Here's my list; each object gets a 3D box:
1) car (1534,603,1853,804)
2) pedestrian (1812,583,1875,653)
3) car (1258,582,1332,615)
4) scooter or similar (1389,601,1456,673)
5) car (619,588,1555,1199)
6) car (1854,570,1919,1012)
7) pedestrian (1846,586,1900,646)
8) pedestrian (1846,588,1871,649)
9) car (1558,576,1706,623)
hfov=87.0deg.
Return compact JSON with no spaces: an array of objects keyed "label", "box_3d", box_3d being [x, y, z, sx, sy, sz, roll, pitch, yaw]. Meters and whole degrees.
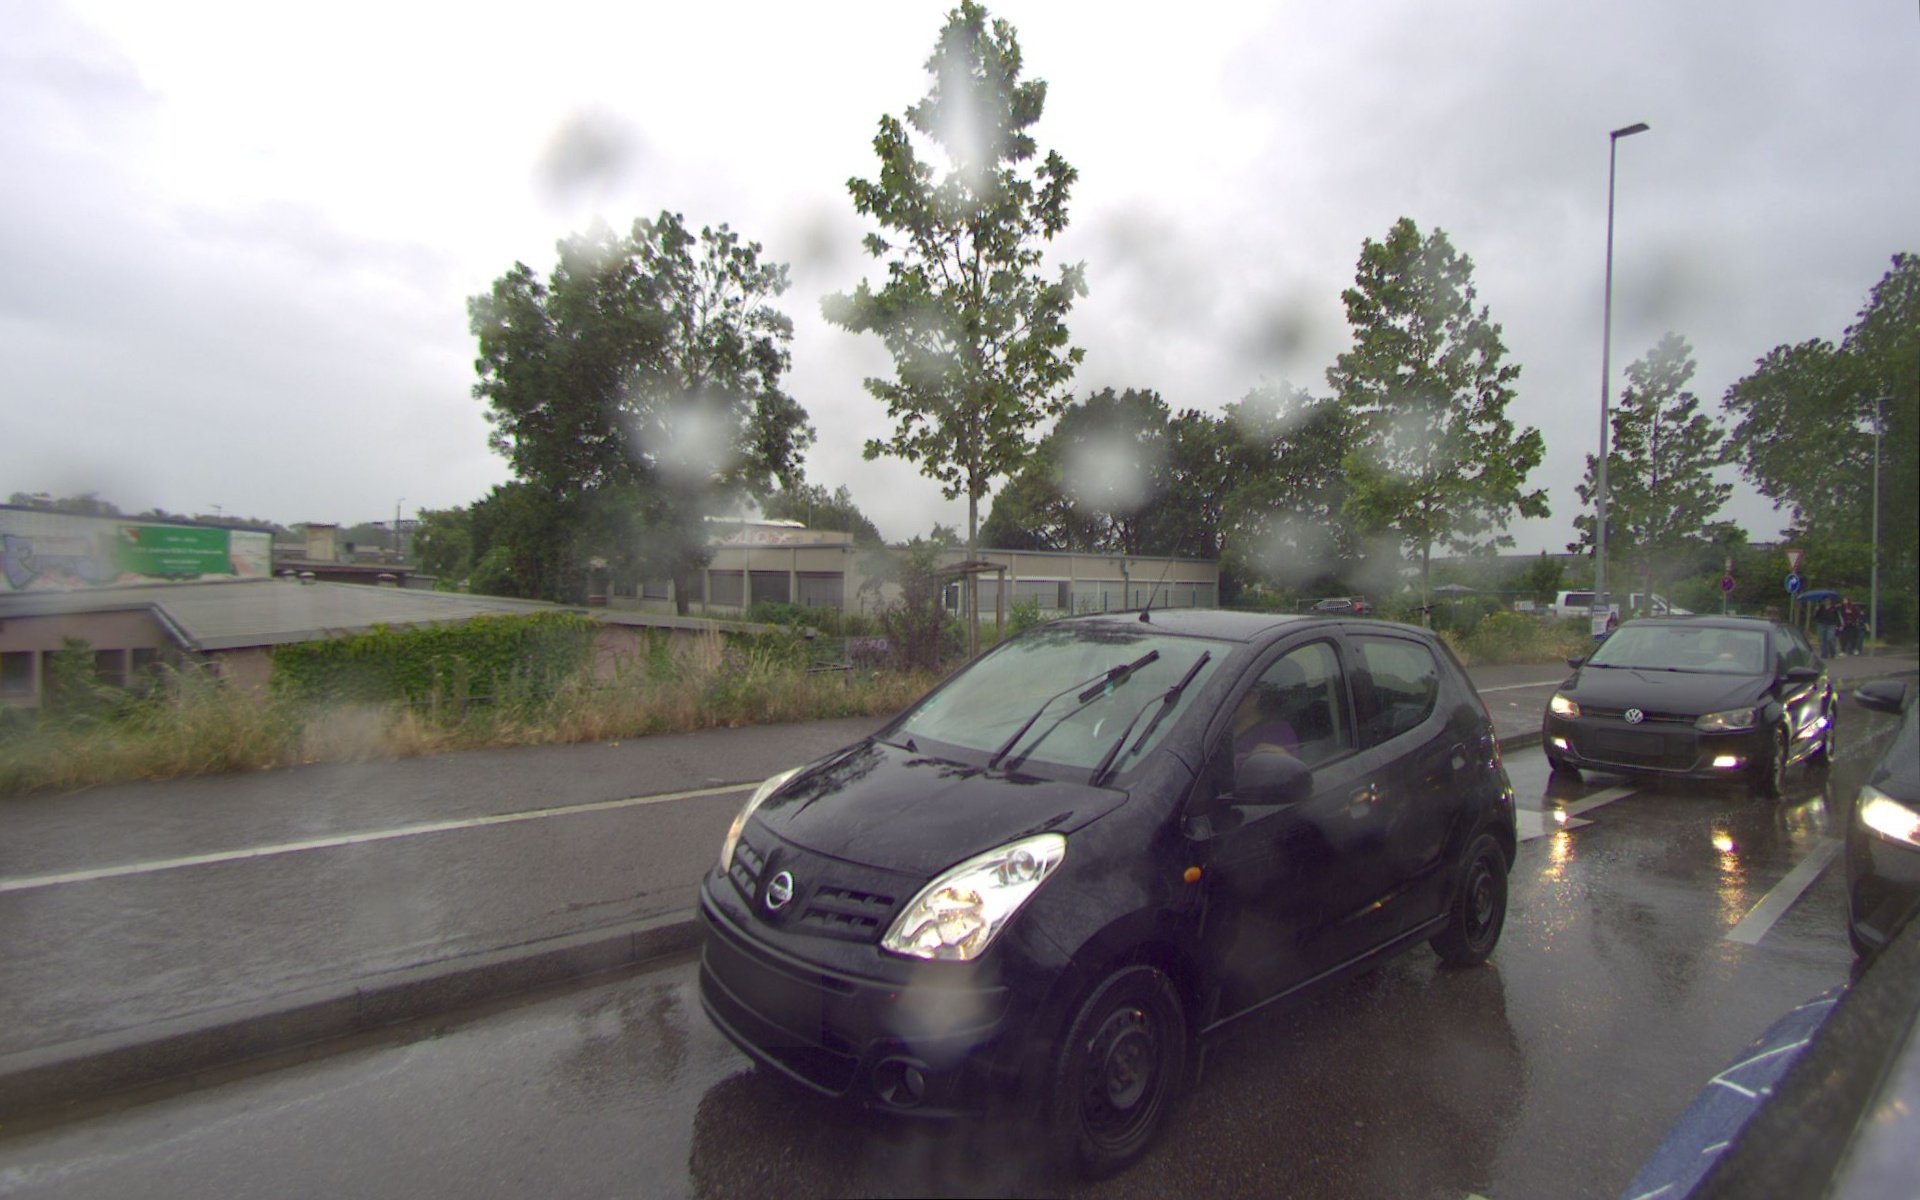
[{"label":"car","box_3d":[6.717,0.759,9.139,3.561,1.447,1.631,0,0,-42]},{"label":"pedestrian","box_3d":[23.434,0.462,26.848,0.953,1.777,1.081,0,3,-42]},{"label":"car","box_3d":[20.993,-0.112,63.484,1.964,2.039,3.996,0,0,-38]},{"label":"scooter or similar","box_3d":[7.897,0.604,17.254,1.747,1.144,0.380,-1,2,-43]},{"label":"car","box_3d":[0.756,0.706,3.869,3.561,1.447,1.631,0,0,-42]},{"label":"car","box_3d":[5.462,0.676,4.512,4.091,1.607,1.688,-1,0,-41]},{"label":"pedestrian","box_3d":[27.427,0.464,30.405,0.876,1.729,1.024,0,3,-41]},{"label":"pedestrian","box_3d":[25.126,0.506,28.301,0.433,1.682,0.400,0,3,-42]},{"label":"car","box_3d":[28.000,0.009,42.304,1.966,1.671,4.750,0,-3,-42]}]
